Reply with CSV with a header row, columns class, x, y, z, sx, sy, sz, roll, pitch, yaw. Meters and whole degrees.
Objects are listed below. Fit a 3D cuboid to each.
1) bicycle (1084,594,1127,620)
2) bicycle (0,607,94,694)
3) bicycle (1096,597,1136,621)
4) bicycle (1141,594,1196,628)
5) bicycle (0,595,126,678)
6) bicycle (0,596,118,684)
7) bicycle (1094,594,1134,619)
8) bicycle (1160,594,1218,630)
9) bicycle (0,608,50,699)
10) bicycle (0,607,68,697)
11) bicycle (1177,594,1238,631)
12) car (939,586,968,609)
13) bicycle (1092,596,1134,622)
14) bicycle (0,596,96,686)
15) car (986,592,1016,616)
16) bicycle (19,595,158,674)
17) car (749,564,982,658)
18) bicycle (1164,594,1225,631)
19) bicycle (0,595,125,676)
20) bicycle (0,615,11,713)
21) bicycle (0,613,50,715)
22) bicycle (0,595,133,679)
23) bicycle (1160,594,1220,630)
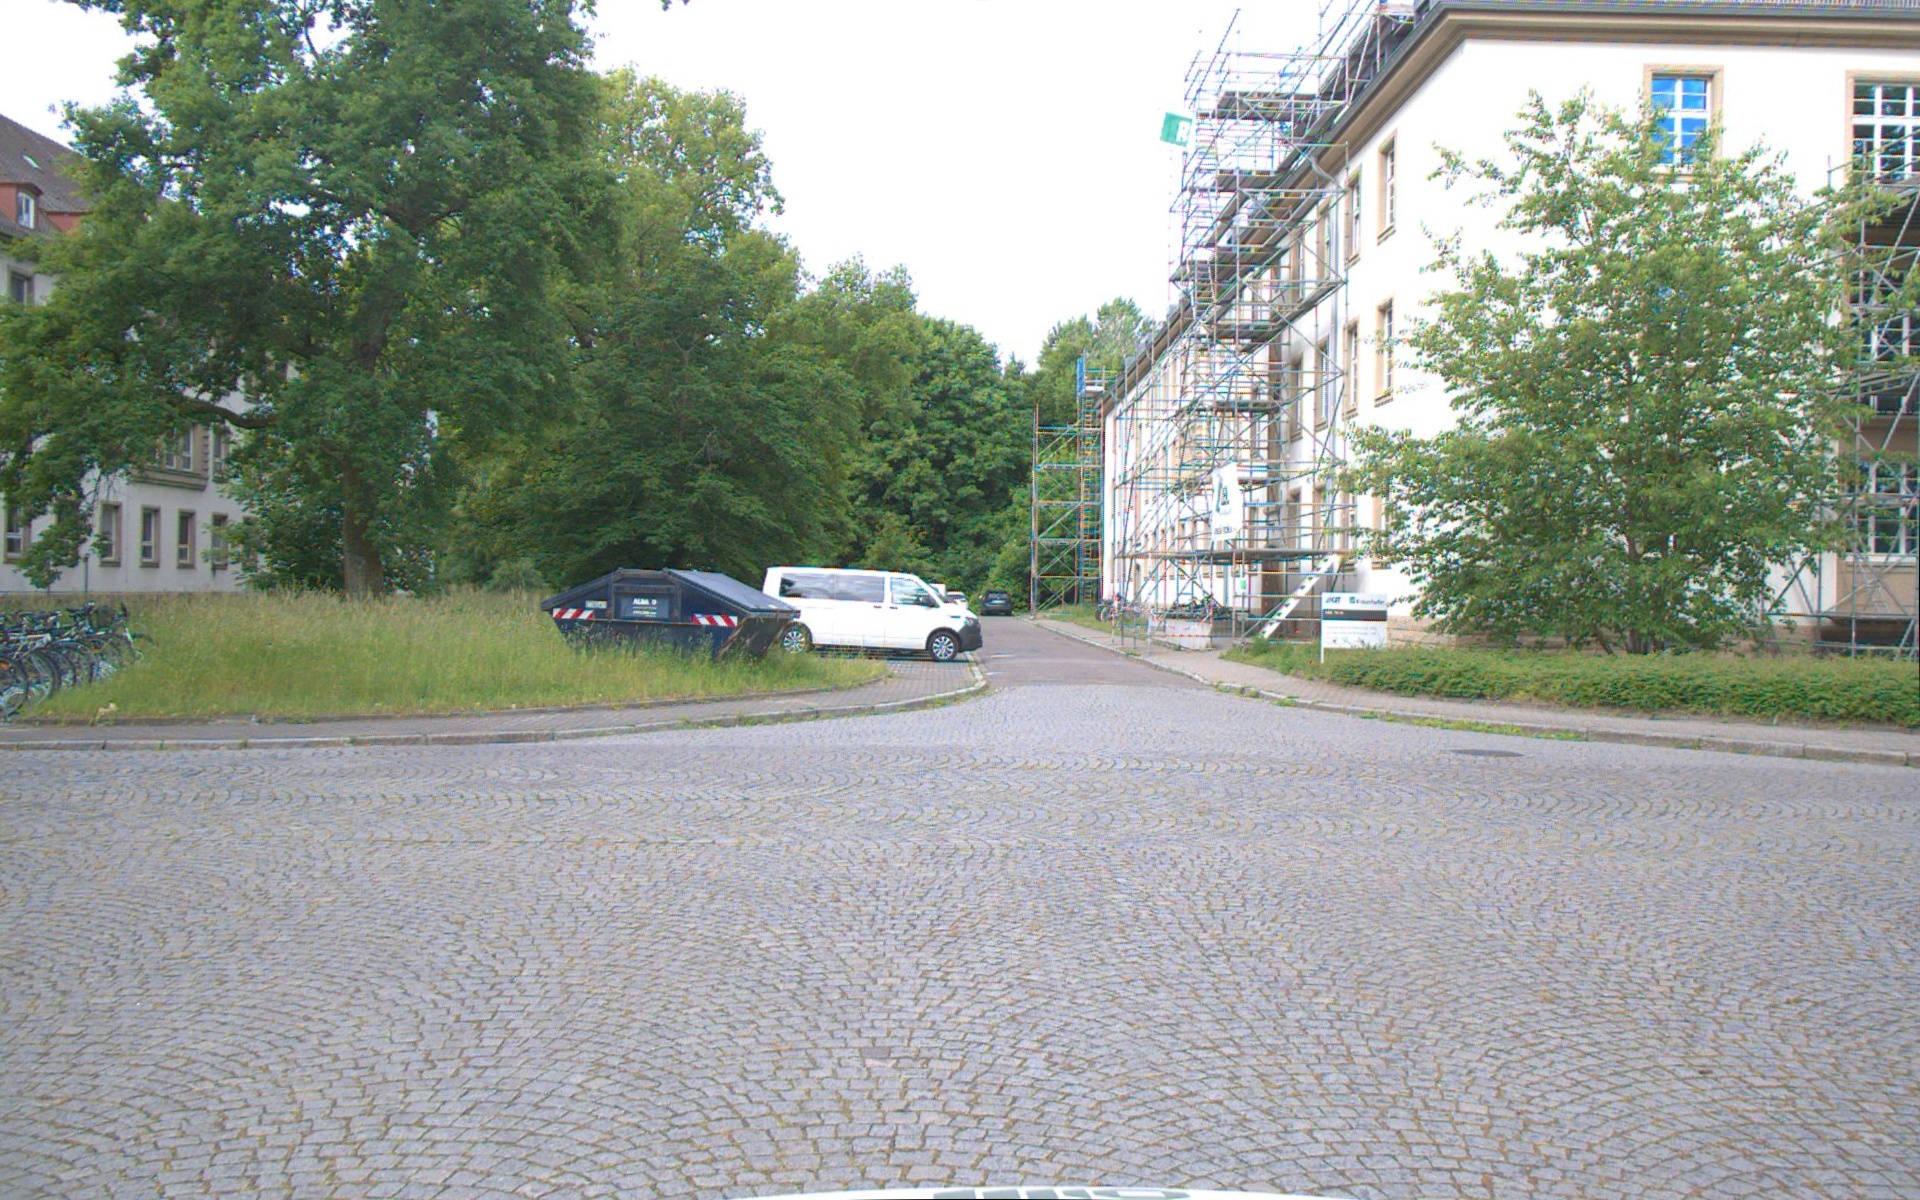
class,x,y,z,sx,sy,sz,roll,pitch,yaw
bicycle,6.388,0.313,72.721,1.818,1.114,0.511,1,0,21
bicycle,-11.543,0.614,20.197,1.636,1.025,0.475,-1,0,-18
bicycle,7.252,0.417,76.773,1.816,1.114,0.511,1,0,6
bicycle,6.942,0.370,55.152,1.816,1.114,0.511,1,0,6
bicycle,-12.646,0.512,23.199,1.617,1.131,0.441,1,0,-12
bicycle,-11.981,0.519,21.578,1.736,1.131,0.474,1,0,-24
bicycle,7.072,0.278,75.978,1.816,1.114,0.511,1,0,6
bicycle,7.305,0.375,52.737,1.816,1.114,0.511,1,0,6
bicycle,-11.335,0.617,18.816,1.636,1.025,0.475,-1,0,-18
bicycle,-11.450,0.615,19.426,1.636,1.025,0.475,-1,0,-18
bicycle,7.563,0.378,50.602,1.816,1.114,0.511,1,0,6
car,-0.417,-0.186,100.679,1.547,1.362,3.951,1,0,-3
bicycle,6.894,0.405,74.598,1.818,1.114,0.511,1,0,21
bicycle,-12.015,0.518,21.042,1.732,1.131,0.475,1,0,-18
car,2.474,0.208,100.764,1.547,1.395,3.951,1,0,-3
bicycle,-12.779,0.504,24.288,1.732,1.131,0.475,1,0,-18
car,-2.120,0.243,37.841,5.153,2.031,1.968,1,0,-2
bicycle,7.241,0.371,51.142,1.816,1.114,0.511,1,0,6
bicycle,-12.914,0.507,23.684,1.617,1.131,0.441,1,0,-12
bicycle,-10.830,0.691,17.247,1.602,1.025,0.472,-1,0,-33
bicycle,-10.813,0.709,17.957,1.602,1.092,0.472,-1,0,-33
bicycle,-12.415,0.511,22.809,1.732,1.131,0.475,1,0,-18
bicycle,7.212,0.374,51.935,1.816,1.114,0.511,1,0,6
